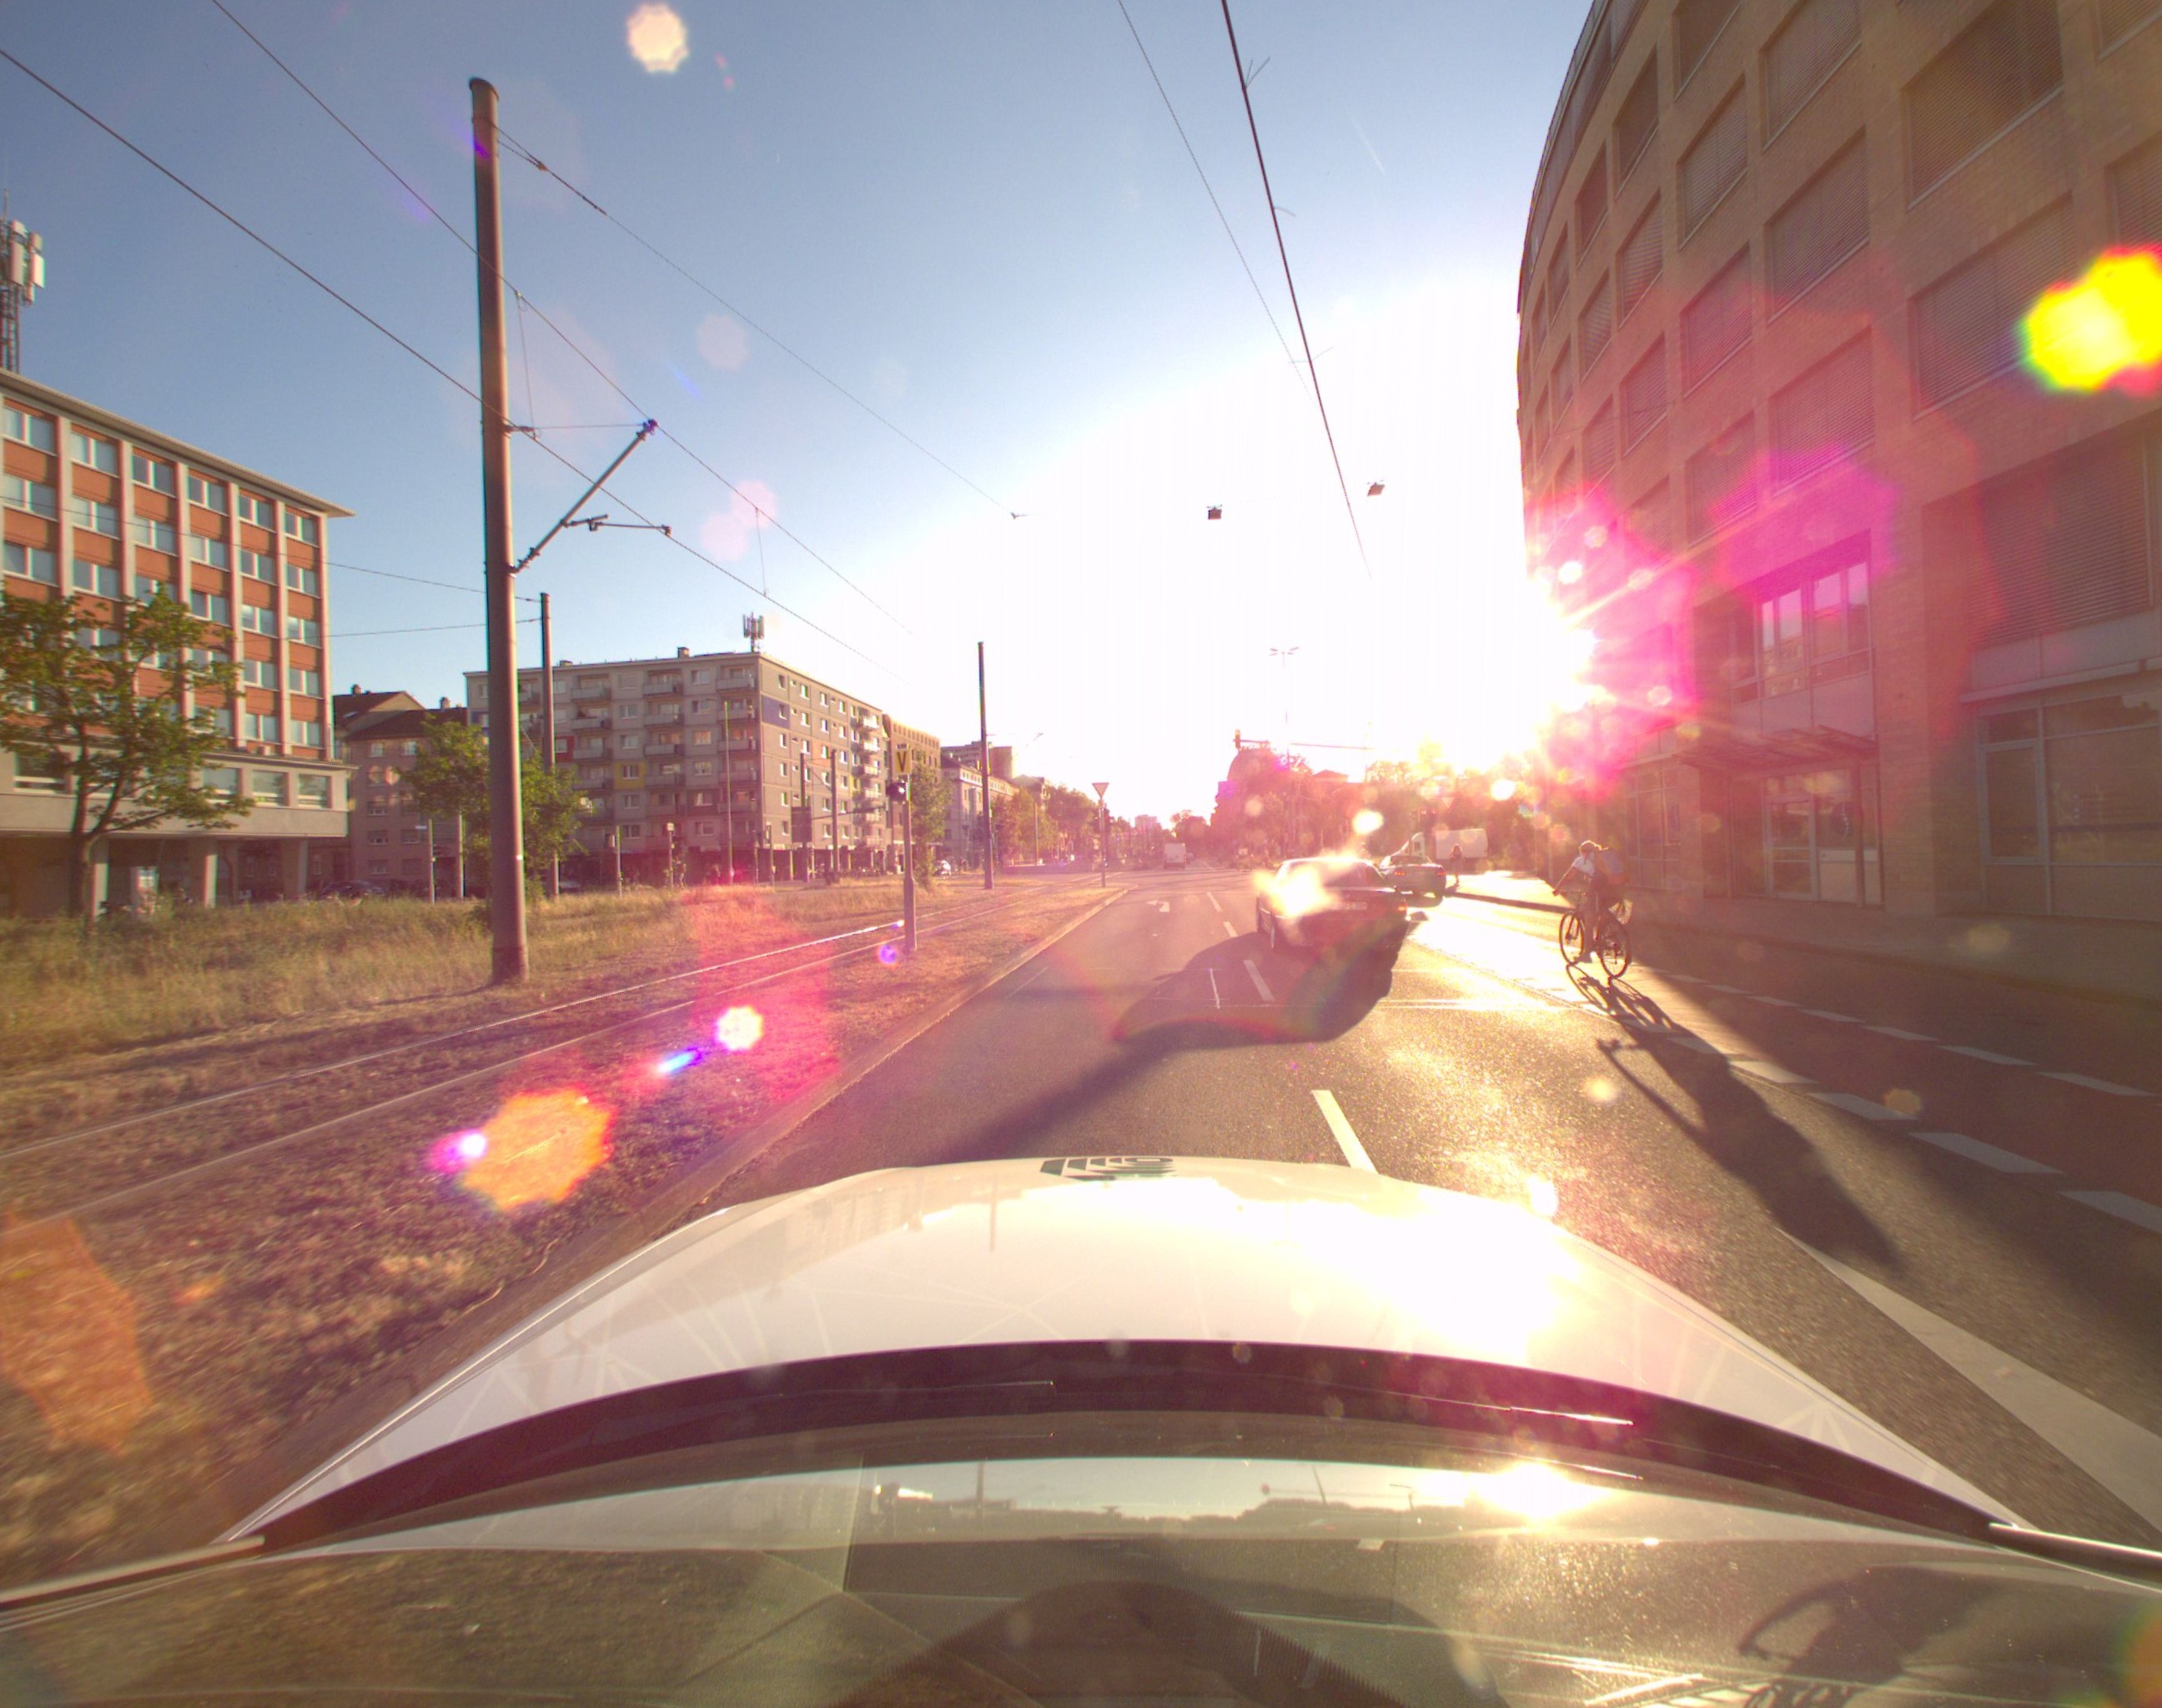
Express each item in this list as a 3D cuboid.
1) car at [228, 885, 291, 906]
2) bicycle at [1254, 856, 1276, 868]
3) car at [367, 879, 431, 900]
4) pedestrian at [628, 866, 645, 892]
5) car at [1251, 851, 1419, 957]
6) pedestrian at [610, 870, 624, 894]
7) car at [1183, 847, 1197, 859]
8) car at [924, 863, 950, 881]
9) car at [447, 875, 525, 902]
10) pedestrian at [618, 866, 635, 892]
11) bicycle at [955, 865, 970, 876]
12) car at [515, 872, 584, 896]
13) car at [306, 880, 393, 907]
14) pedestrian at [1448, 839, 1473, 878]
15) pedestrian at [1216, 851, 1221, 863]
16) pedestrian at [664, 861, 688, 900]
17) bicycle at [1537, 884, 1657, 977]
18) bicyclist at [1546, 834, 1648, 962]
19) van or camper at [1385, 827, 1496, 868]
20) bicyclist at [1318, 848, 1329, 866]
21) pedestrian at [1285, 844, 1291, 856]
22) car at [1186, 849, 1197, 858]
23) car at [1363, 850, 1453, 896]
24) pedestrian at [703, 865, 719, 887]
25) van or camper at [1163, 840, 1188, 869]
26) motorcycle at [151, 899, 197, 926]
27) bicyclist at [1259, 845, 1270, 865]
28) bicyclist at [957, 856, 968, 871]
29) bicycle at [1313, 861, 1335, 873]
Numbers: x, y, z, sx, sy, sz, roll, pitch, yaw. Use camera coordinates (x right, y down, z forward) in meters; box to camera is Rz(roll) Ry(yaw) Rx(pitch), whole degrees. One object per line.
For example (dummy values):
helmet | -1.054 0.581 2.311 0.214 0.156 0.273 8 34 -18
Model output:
car | -74.373 3.733 73.730 3.850 1.585 1.805 -2 1 2
bicycle | 15.108 0.646 66.920 1.718 0.970 0.611 -1 1 9
car | -61.928 3.219 74.030 4.269 1.585 1.805 -2 1 2
pedestrian | -32.452 1.809 59.456 0.599 1.847 0.824 -2 1 8
car | 3.877 0.675 13.225 1.820 1.354 4.651 -1 1 7
pedestrian | -31.937 1.914 56.092 0.511 1.629 0.617 -2 1 8
car | 14.509 -0.104 108.004 1.727 1.385 4.010 -2 1 8
car | -13.727 1.706 77.673 1.707 1.434 4.001 -1 1 1
car | -40.216 2.338 55.091 3.850 1.585 1.805 -2 1 2
pedestrian | -33.401 1.837 59.819 0.701 1.851 0.738 -2 1 8
bicycle | -11.626 1.653 79.958 0.696 0.970 1.743 1 2 20
car | -39.793 2.229 61.022 3.850 1.585 1.805 -2 1 2
car | -50.924 2.756 56.748 4.263 1.585 1.990 -2 1 2
pedestrian | 15.636 0.168 33.552 0.673 1.569 0.801 -2 1 5
pedestrian | 17.718 0.389 104.991 0.612 1.475 0.803 -2 1 12
pedestrian | -18.879 1.223 37.941 0.712 1.762 0.654 -2 1 29
bicycle | 6.313 0.895 10.074 0.512 0.954 1.778 0 1 5
bicyclist | 6.292 0.509 9.983 0.652 1.483 1.039 0 0 5
van or camper | 26.344 -0.500 60.014 7.000 2.674 2.606 -2 1 9
bicyclist | 20.182 0.261 67.784 0.846 1.442 0.666 -2 1 18
pedestrian | 27.827 -0.576 109.340 0.678 1.611 0.614 -2 1 8
car | 20.843 -0.150 154.067 1.786 1.566 4.005 -2 1 4
car | 10.893 0.584 27.449 1.774 1.354 4.275 -1 1 7
pedestrian | -28.664 1.710 63.099 0.731 1.669 0.788 -2 1 36
van or camper | 9.385 -0.006 80.588 2.250 2.624 4.514 -2 1 8
motorcycle | -38.591 2.474 34.653 1.442 1.068 0.532 -2 1 6
bicyclist | 15.066 0.094 66.917 0.793 1.571 0.665 -2 1 9
bicyclist | -11.622 0.940 79.939 0.655 1.442 0.860 0 1 20
bicycle | 20.220 1.059 67.798 1.704 0.970 0.612 -1 1 18
